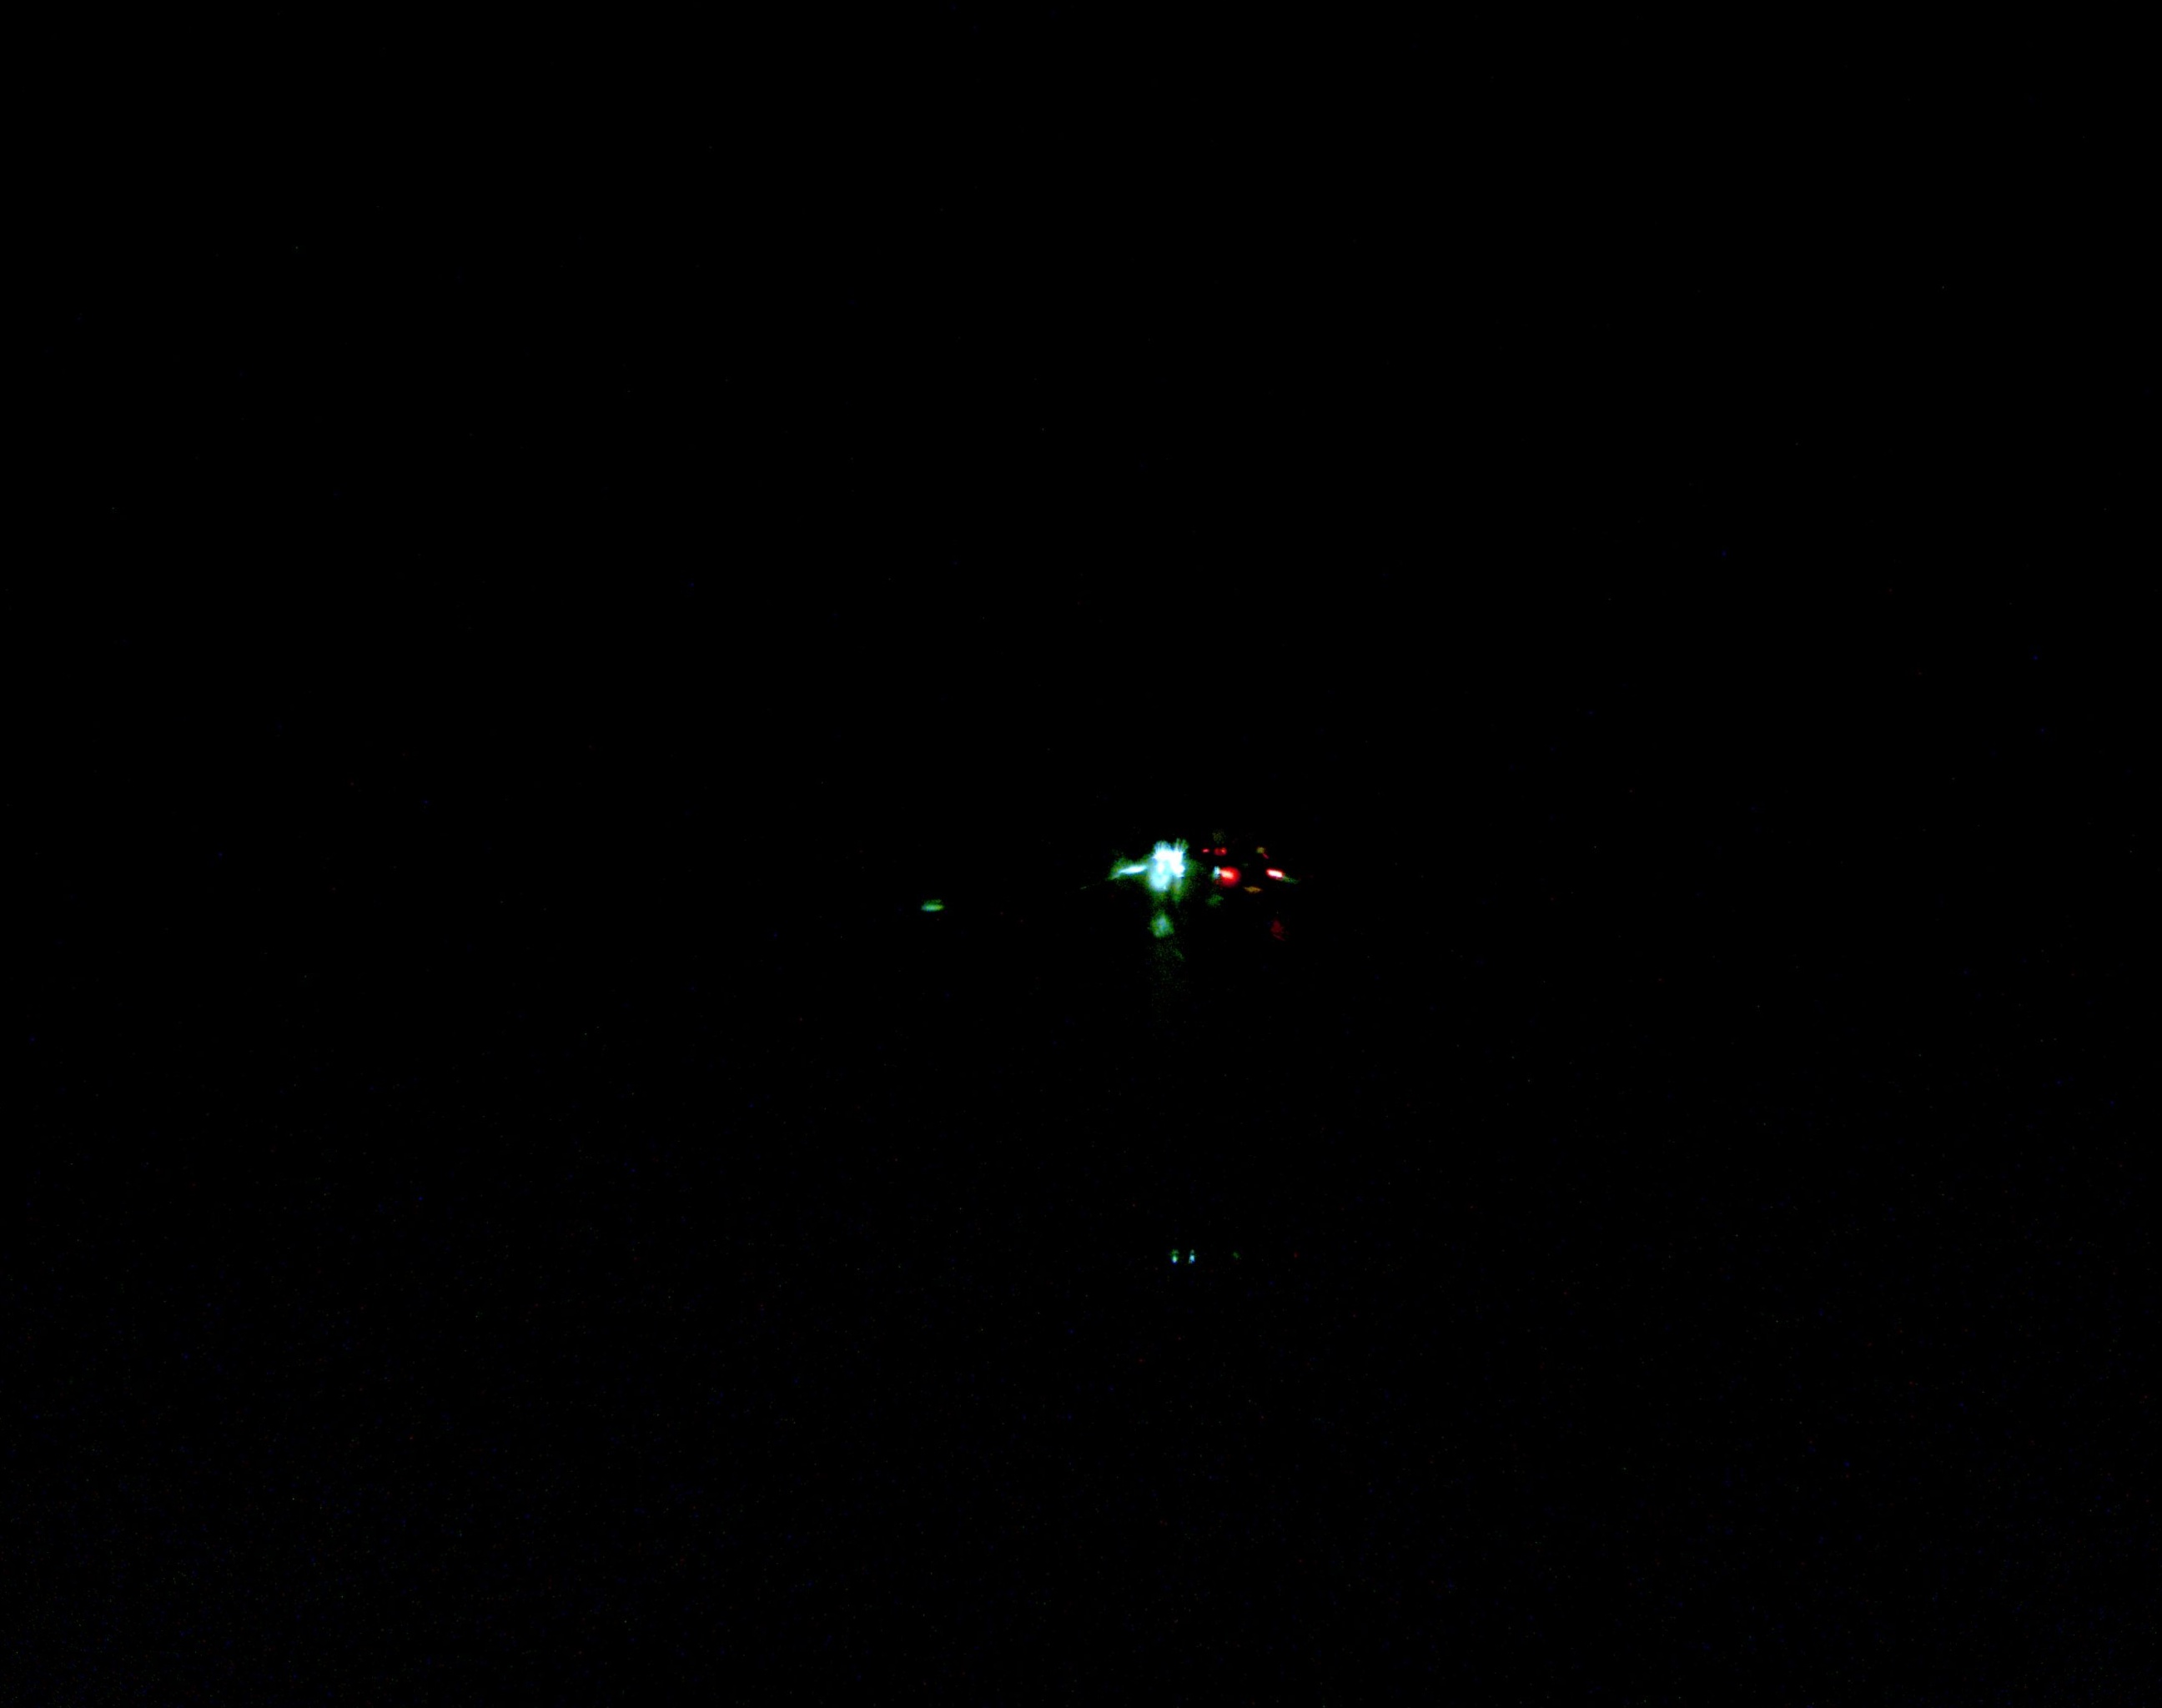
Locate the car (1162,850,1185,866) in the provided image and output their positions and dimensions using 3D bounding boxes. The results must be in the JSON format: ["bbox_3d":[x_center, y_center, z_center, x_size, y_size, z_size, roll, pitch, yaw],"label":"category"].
[{"bbox_3d":[9.039,0.348,73.950,1.806,1.452,4.279,-2,0,11],"label":"car"}]

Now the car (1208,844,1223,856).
[{"bbox_3d":[20.281,-0.596,114.672,1.997,1.740,4.260,-2,1,9],"label":"car"}]

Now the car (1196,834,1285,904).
[{"bbox_3d":[4.767,0.390,23.305,1.998,1.915,4.000,-2,1,3],"label":"car"}]
